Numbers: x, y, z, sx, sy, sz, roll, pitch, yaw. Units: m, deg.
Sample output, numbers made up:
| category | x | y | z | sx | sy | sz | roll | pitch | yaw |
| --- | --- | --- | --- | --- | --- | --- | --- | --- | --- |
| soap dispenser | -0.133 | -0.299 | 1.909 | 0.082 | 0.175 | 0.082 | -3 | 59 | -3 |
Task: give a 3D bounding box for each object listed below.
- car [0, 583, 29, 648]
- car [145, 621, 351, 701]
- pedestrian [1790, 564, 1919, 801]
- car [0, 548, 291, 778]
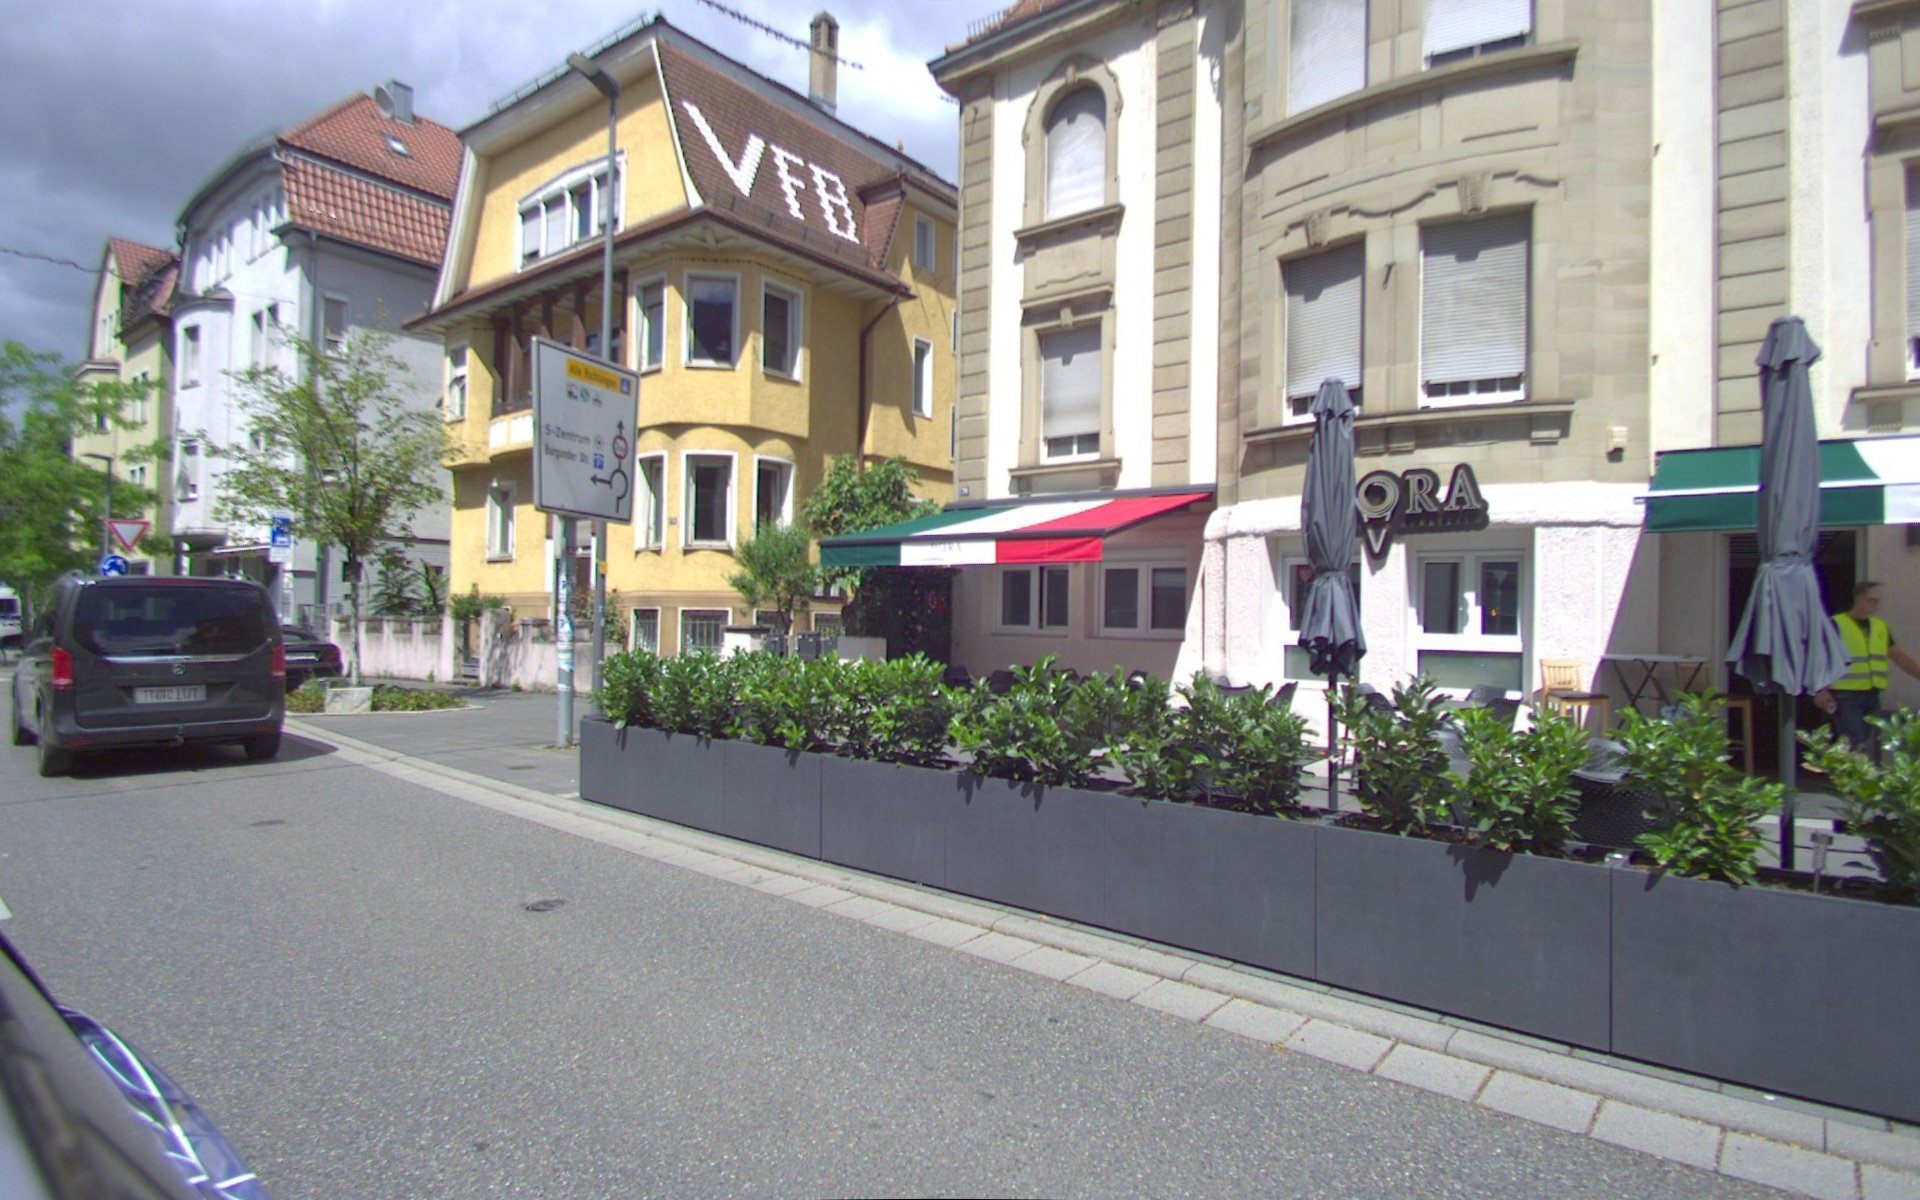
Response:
| category | x | y | z | sx | sy | sz | roll | pitch | yaw |
| --- | --- | --- | --- | --- | --- | --- | --- | --- | --- |
| car | -42.391 | 0.632 | 43.405 | 7.255 | 2.692 | 2.282 | 0 | 0 | 36 |
| car | -13.151 | 1.067 | 18.606 | 4.456 | 1.314 | 1.702 | -2 | -2 | 35 |
| pedestrian | 7.203 | 0.611 | 7.982 | 0.795 | 1.769 | 0.807 | 0 | 0 | 22 |
| car | -9.171 | 0.611 | 11.007 | 5.173 | 1.948 | 1.852 | -2 | -2 | 41 |
